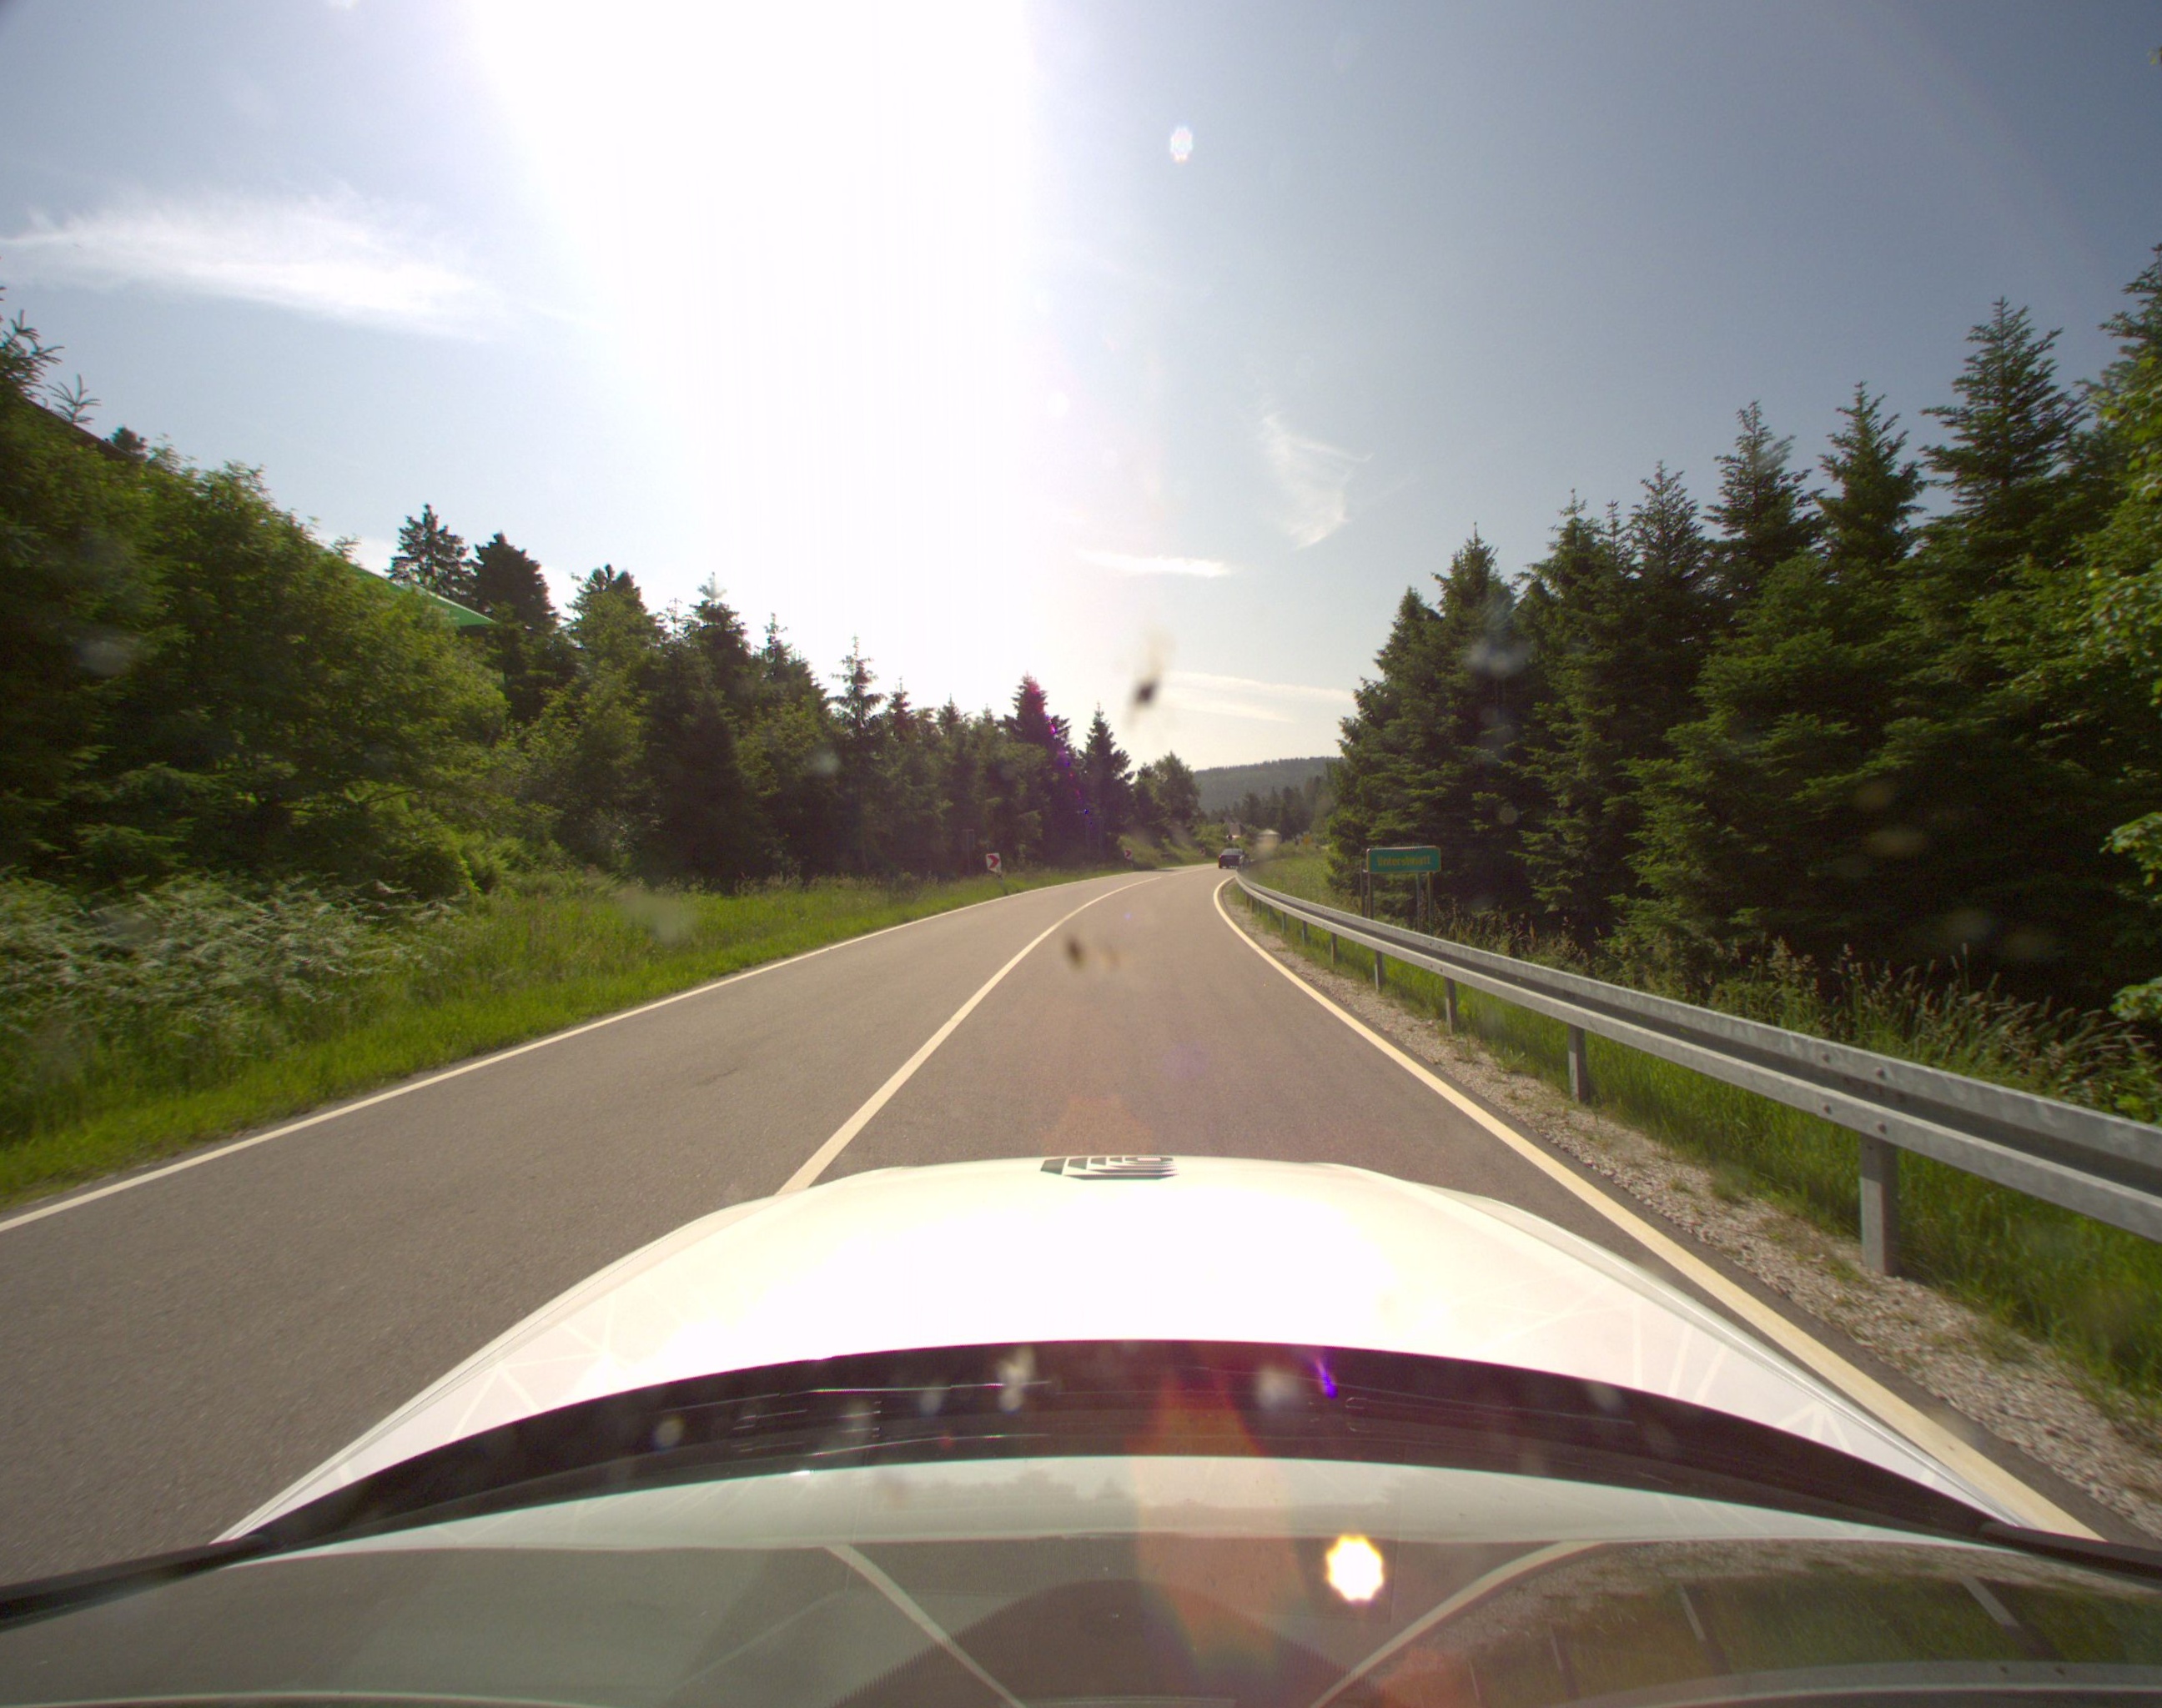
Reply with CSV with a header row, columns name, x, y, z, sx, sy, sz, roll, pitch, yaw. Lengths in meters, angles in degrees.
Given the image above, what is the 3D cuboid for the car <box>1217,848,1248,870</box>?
name,x,y,z,sx,sy,sz,roll,pitch,yaw
car,10.954,0.337,58.771,1.762,1.442,3.726,1,2,17
